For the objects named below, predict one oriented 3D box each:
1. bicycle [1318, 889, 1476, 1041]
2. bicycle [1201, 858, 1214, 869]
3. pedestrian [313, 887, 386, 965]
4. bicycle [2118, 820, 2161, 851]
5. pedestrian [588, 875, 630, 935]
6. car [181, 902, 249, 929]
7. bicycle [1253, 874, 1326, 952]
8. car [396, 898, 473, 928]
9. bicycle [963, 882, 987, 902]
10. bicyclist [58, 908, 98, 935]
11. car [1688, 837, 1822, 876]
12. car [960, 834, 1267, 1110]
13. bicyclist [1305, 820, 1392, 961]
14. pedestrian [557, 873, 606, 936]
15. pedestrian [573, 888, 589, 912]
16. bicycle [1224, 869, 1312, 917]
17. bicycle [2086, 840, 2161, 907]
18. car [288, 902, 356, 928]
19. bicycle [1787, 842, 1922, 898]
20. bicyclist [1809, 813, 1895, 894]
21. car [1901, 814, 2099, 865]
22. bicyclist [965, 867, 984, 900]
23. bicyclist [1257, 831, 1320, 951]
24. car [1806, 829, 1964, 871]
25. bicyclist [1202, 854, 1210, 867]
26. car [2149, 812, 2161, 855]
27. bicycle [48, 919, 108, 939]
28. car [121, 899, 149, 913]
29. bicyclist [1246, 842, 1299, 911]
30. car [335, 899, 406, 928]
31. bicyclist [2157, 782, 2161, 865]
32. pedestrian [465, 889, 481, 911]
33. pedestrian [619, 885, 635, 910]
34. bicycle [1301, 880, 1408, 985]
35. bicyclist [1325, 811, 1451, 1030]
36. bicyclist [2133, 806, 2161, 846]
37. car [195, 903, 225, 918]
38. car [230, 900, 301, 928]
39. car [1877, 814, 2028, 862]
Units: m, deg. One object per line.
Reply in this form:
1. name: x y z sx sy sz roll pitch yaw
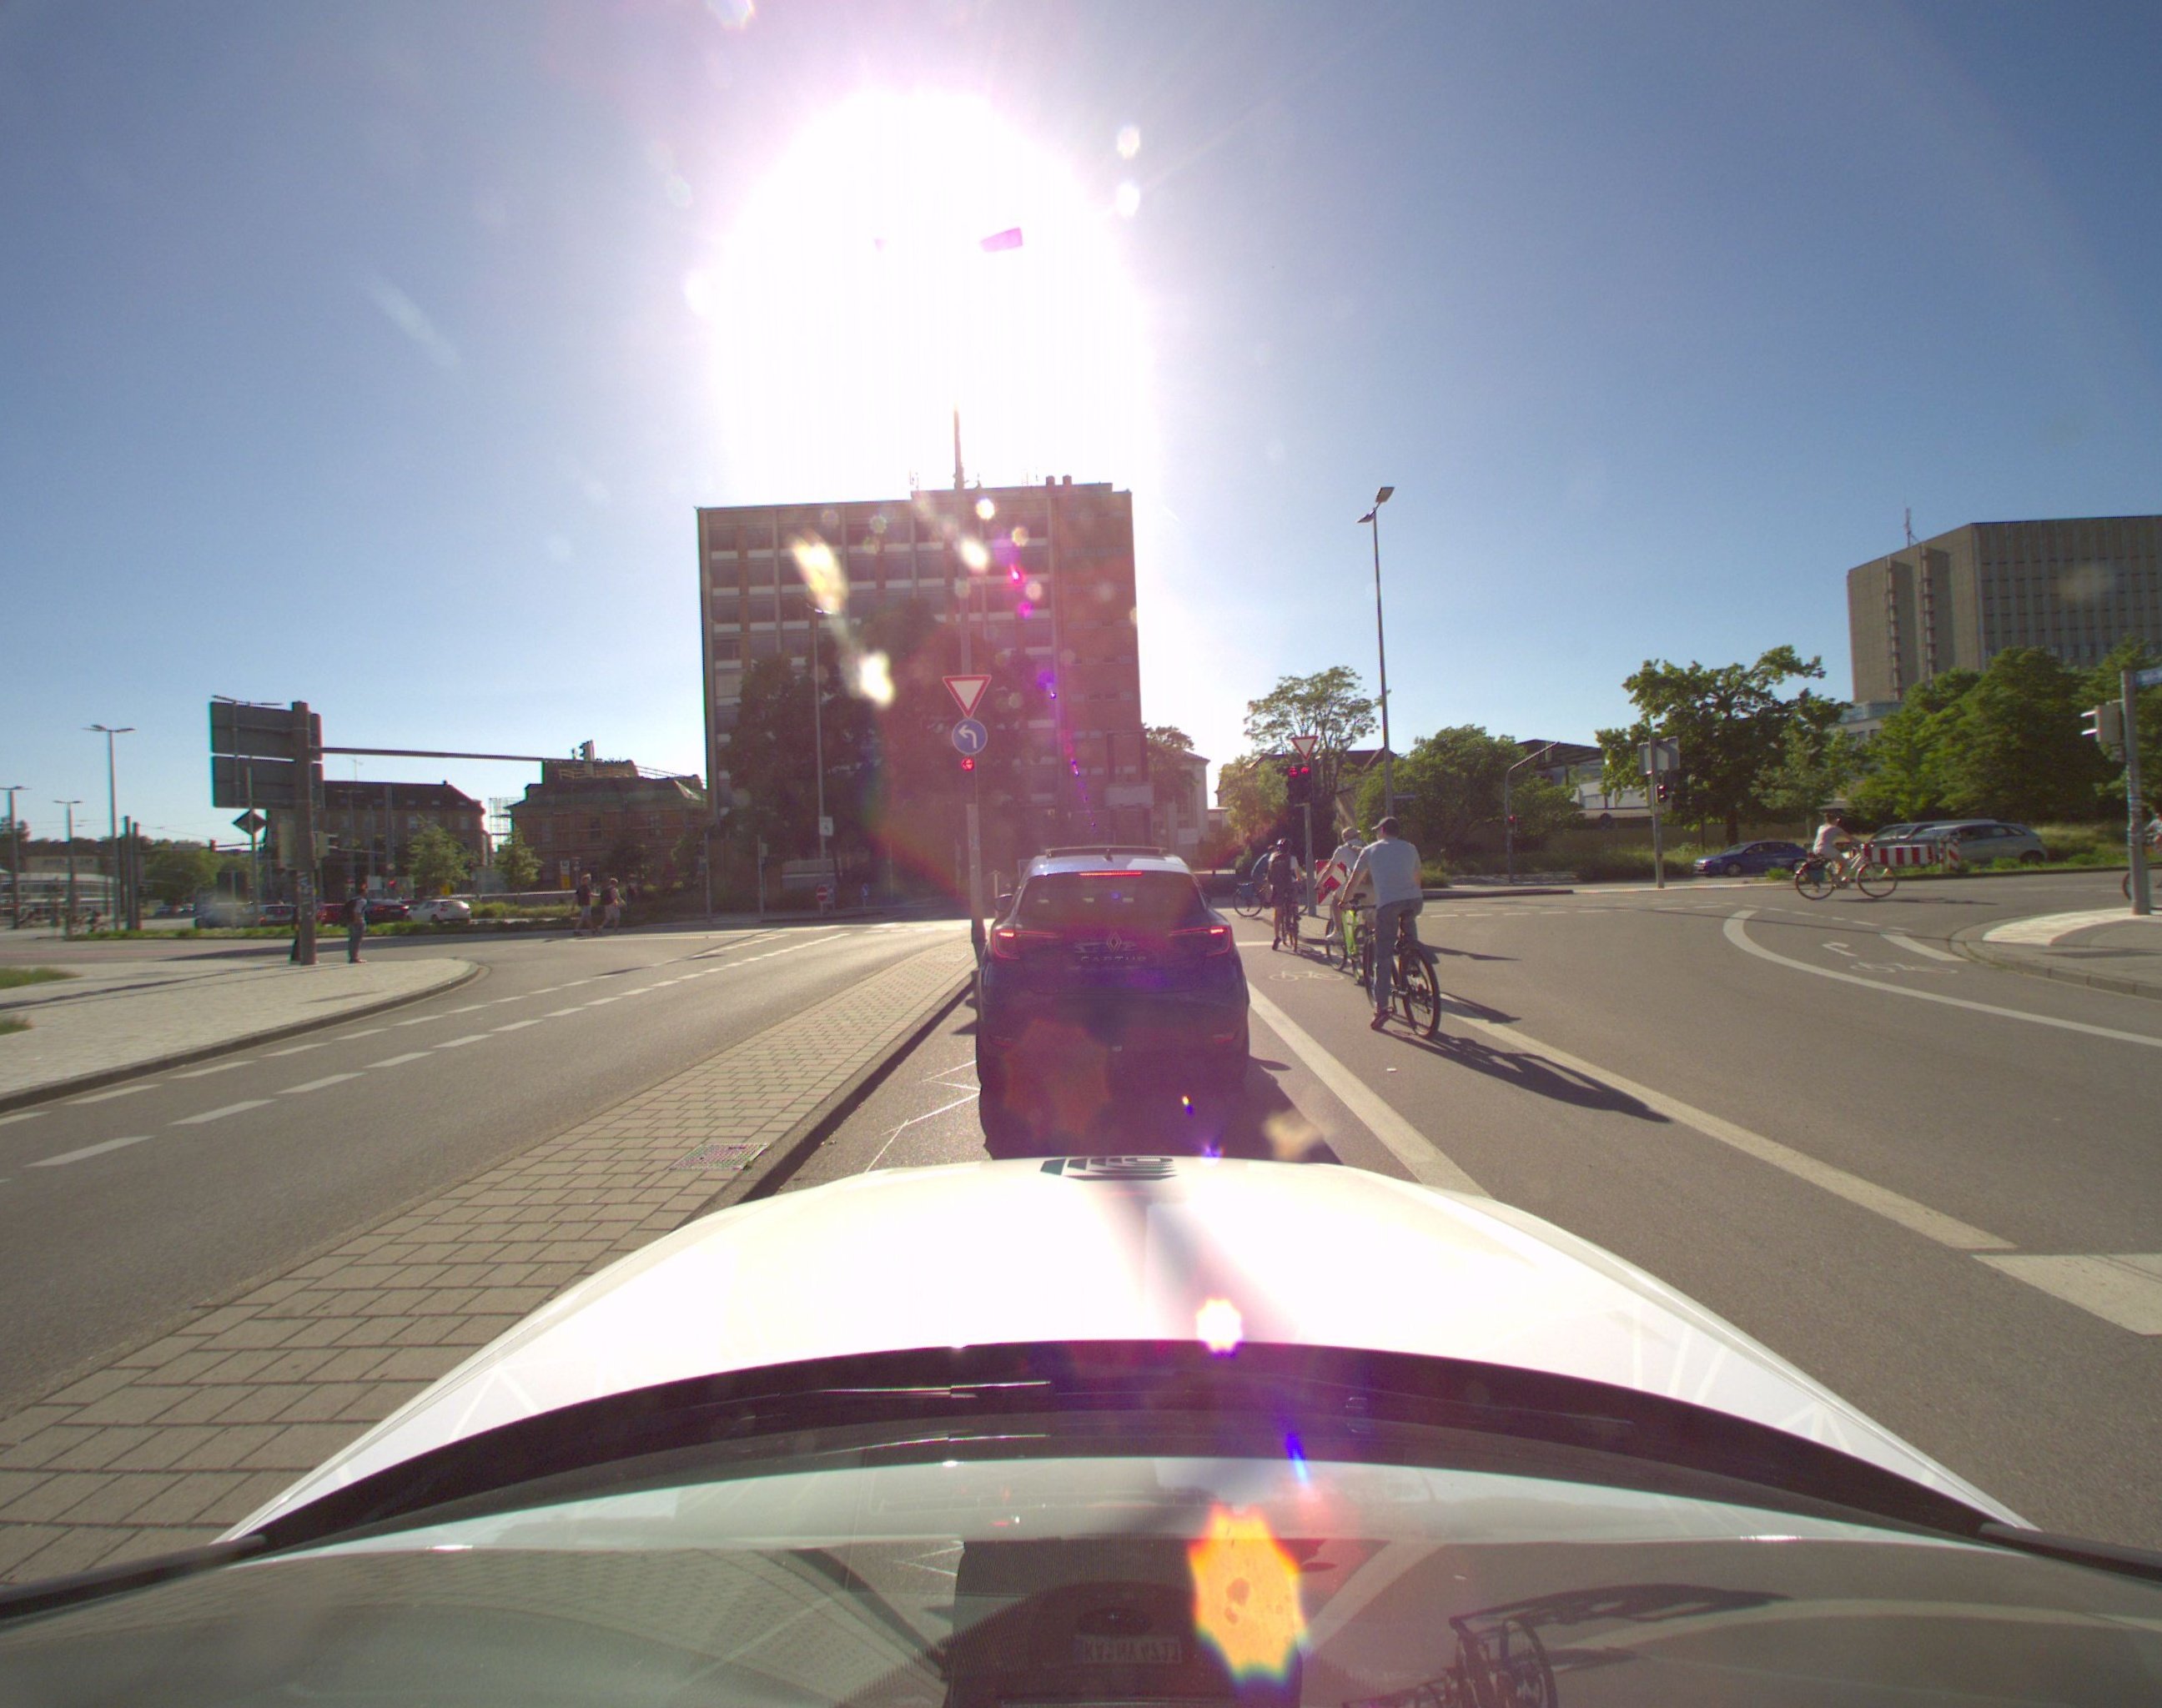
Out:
1. bicycle: 2.713 0.898 7.240 0.687 1.089 1.923 -1 0 2
2. bicycle: 14.551 1.084 93.651 0.688 1.140 2.455 -3 -1 25
3. pedestrian: -17.263 1.675 19.245 0.647 1.730 1.066 -3 -1 15
4. bicycle: 36.998 -0.644 28.003 1.673 1.033 0.612 -2 -1 7
5. pedestrian: -14.192 1.529 24.495 0.675 1.730 0.764 -3 -1 15
6. car: -54.915 3.891 51.645 3.834 1.508 1.805 -3 -1 25
7. bicycle: 3.260 0.888 12.893 0.687 1.089 1.923 -1 0 2
8. car: -36.397 3.335 45.843 3.834 1.508 1.805 -3 -1 25
9. bicycle: -5.729 2.042 44.178 0.751 0.985 2.098 -2 0 8
10. bicyclist: -65.517 4.421 53.205 0.800 1.634 1.586 -1 -1 37
11. car: 28.133 0.104 34.113 3.965 1.398 1.798 -3 -1 7
12. car: 0.195 0.705 6.773 1.783 1.585 3.913 -1 0 0
13. bicyclist: 3.215 0.416 9.879 0.676 1.594 1.142 -1 -1 2
14. pedestrian: -15.237 1.531 24.855 0.807 1.862 0.913 -3 -1 15
15. pedestrian: -37.419 3.409 60.938 0.678 1.730 0.761 -2 -1 -1
16. bicycle: 4.304 0.894 18.837 1.887 0.973 0.651 -4 -1 9
17. bicycle: 15.898 0.268 11.651 0.640 0.958 1.866 -2 -1 -39
18. car: -48.209 3.869 51.717 3.834 1.508 1.805 -3 -1 25
19. bicycle: 15.339 0.316 16.193 1.956 0.988 0.523 -4 -1 9
20. bicyclist: 15.319 -0.008 16.199 1.062 1.528 0.518 -4 -1 9
21. car: 29.218 -0.435 26.008 3.965 1.398 1.798 -3 -1 7
22. bicyclist: -5.762 1.608 44.078 0.751 1.716 1.001 -2 -1 7
23. bicyclist: 3.248 0.559 12.835 0.697 1.791 1.142 -1 -1 2
24. car: 30.294 -0.137 30.799 3.965 1.398 1.798 -3 -1 7
25. bicyclist: 14.237 0.771 92.979 0.688 1.481 0.721 -3 -1 25
26. car: 36.899 -0.764 25.337 4.534 1.398 1.798 -3 -1 7
27. bicycle: -65.477 4.884 53.201 0.800 1.062 2.434 -1 -1 37
28. car: -152.851 8.349 131.600 2.008 2.014 3.956 0 -1 -35
29. bicyclist: 4.411 0.508 18.825 1.045 1.513 0.643 -4 -1 9
30. car: -42.505 3.560 48.726 3.834 1.508 1.805 -3 -1 25
31. bicyclist: 16.011 -0.226 11.496 0.635 1.646 0.903 -2 -1 -39
32. pedestrian: -49.290 3.717 66.002 0.755 1.730 0.683 -2 -1 2
33. pedestrian: -32.086 3.088 57.585 0.680 1.730 0.759 -2 -1 -7
34. bicycle: 3.247 0.888 9.865 0.687 1.089 1.923 -1 0 2
35. bicyclist: 2.704 0.554 7.287 0.680 1.791 1.142 -1 -1 2
36. bicyclist: 37.049 -0.979 27.996 0.870 1.343 0.612 -2 -1 7
37. car: -129.448 8.424 121.098 1.797 2.013 3.963 -2 -1 -29
38. car: -48.866 3.603 48.812 3.834 1.508 1.805 -3 -1 25
39. car: 35.869 -0.620 33.614 3.965 1.749 1.798 -3 -1 7
